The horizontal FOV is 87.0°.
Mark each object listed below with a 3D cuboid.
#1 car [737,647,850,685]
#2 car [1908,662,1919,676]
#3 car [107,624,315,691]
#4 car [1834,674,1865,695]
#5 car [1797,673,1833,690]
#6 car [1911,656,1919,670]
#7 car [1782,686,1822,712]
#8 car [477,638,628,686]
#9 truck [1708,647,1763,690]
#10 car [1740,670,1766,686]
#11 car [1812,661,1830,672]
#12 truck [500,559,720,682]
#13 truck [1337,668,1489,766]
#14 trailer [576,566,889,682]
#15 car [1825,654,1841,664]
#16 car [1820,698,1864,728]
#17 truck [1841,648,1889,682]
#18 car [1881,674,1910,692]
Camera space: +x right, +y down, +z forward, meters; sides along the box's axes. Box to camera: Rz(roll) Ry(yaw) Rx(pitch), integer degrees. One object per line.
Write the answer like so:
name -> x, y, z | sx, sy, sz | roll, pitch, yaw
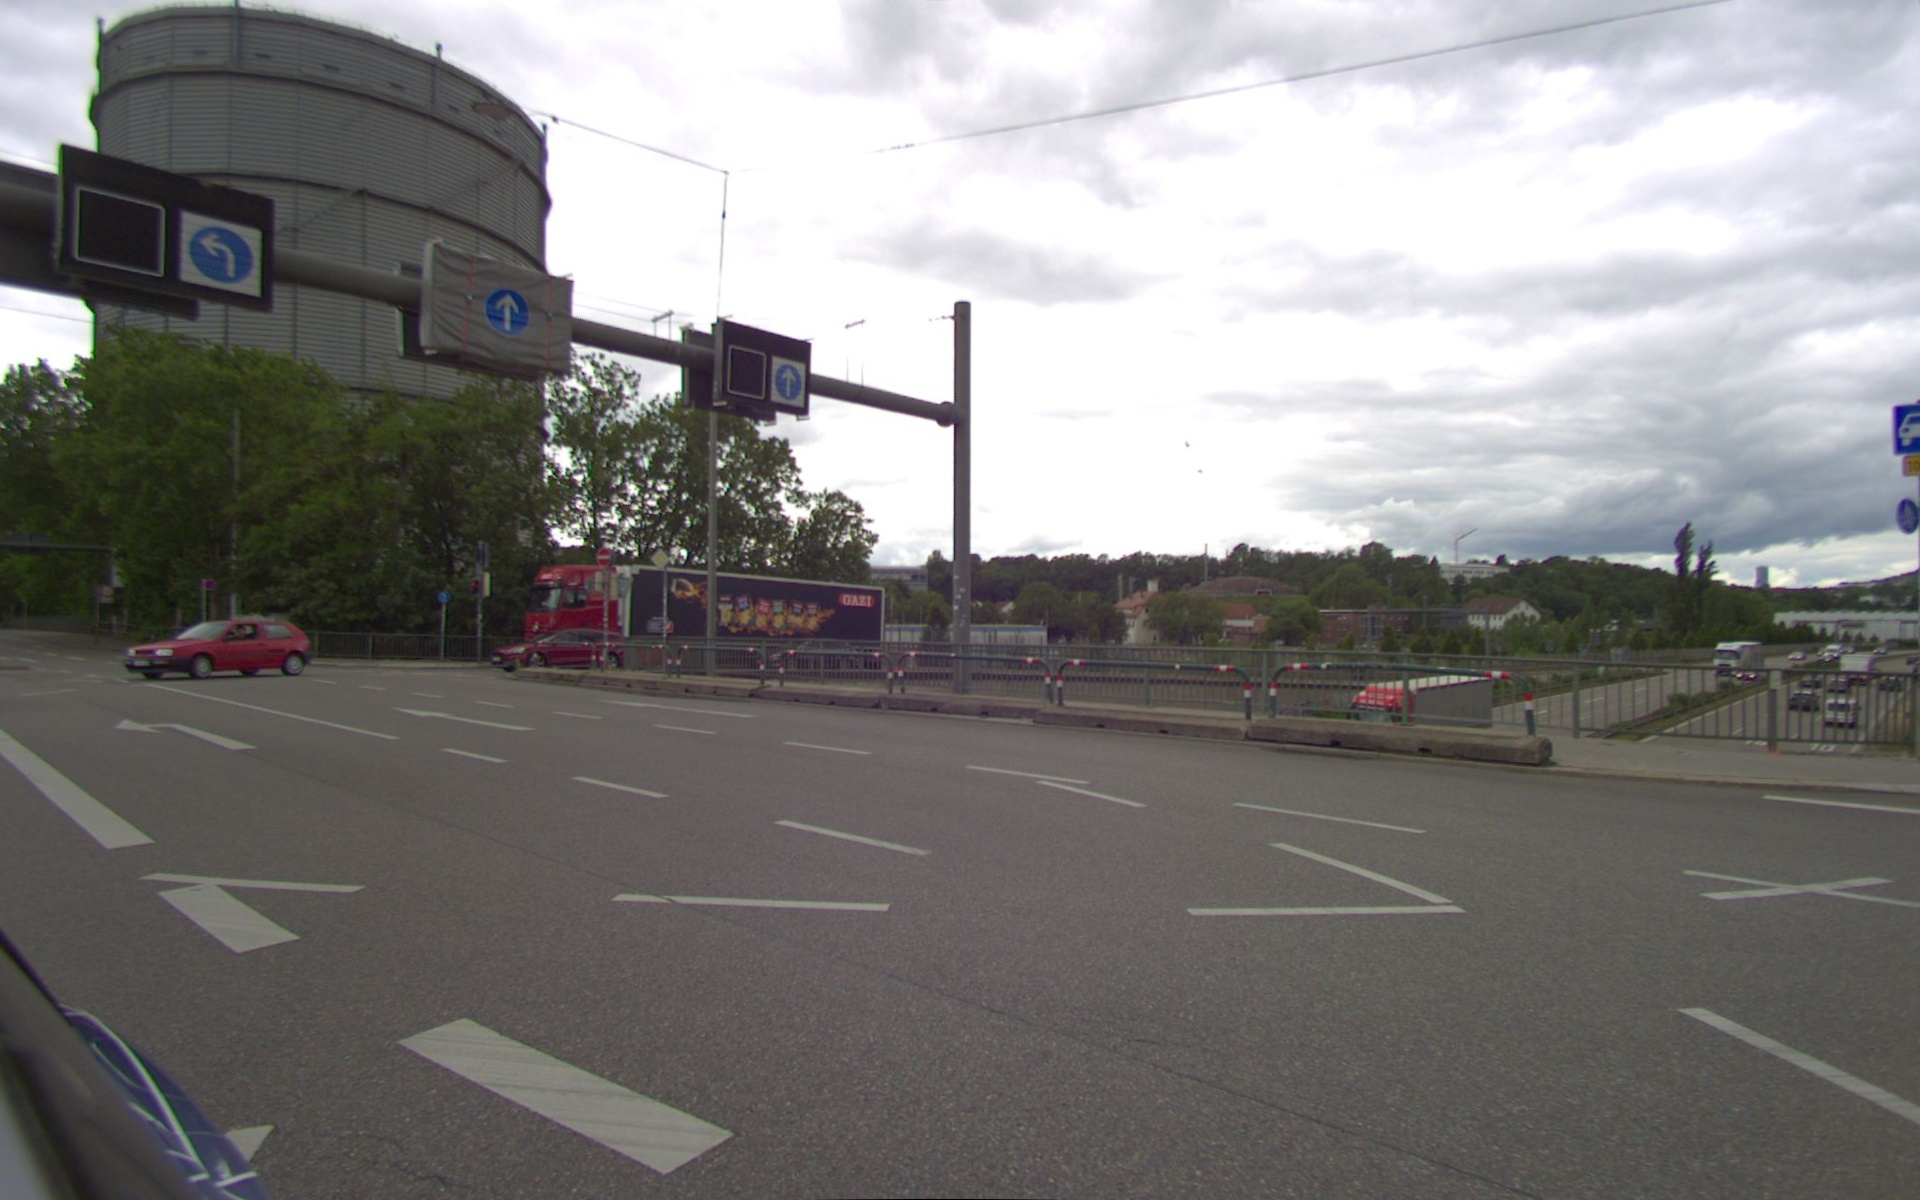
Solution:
car -> -6.773, 2.690, 41.405 | 1.698, 1.431, 4.402 | -2, -4, 44
car -> 138.810, 10.043, 146.566 | 2.140, 1.730, 4.360 | 1, 0, 45
car -> -18.470, 1.443, 25.190 | 1.733, 1.475, 3.933 | -3, -4, 16
car -> 91.941, 8.723, 104.610 | 2.140, 1.730, 4.360 | 1, 0, 45
car -> 94.322, 8.972, 111.623 | 4.660, 1.730, 2.340 | 1, -3, -43
car -> 166.477, 10.911, 175.359 | 4.572, 2.029, 2.227 | -1, 1, -44
car -> 69.489, 8.118, 83.537 | 2.140, 1.730, 4.360 | 1, 0, 45
car -> -13.607, 2.027, 33.978 | 1.697, 1.431, 4.405 | -2, -2, 42
truck -> 101.064, 8.813, 131.758 | 13.725, 4.992, 3.383 | 1, -2, -43
car -> 95.014, 9.317, 121.237 | 3.584, 1.730, 1.916 | 3, -1, -43
car -> 147.976, 11.405, 173.965 | 3.584, 1.730, 1.916 | 3, -1, -43
truck -> -13.520, 0.985, 39.575 | 3.671, 4.354, 7.132 | -2, -5, 43
truck -> 25.464, 6.234, 56.310 | 13.056, 4.389, 2.894 | 1, -1, -43
trailer -> -9.330, 1.333, 44.155 | 3.671, 4.354, 13.586 | -2, -5, 43
car -> 165.070, 11.213, 191.419 | 3.584, 1.730, 1.916 | 3, -1, -43
car -> 65.490, 8.347, 75.136 | 2.140, 1.730, 4.360 | 1, 0, 45
truck -> 105.298, 7.474, 117.753 | 8.118, 3.482, 3.598 | 1, 0, -45
car -> 101.102, 8.905, 109.366 | 2.140, 1.577, 4.360 | 1, 0, 45
